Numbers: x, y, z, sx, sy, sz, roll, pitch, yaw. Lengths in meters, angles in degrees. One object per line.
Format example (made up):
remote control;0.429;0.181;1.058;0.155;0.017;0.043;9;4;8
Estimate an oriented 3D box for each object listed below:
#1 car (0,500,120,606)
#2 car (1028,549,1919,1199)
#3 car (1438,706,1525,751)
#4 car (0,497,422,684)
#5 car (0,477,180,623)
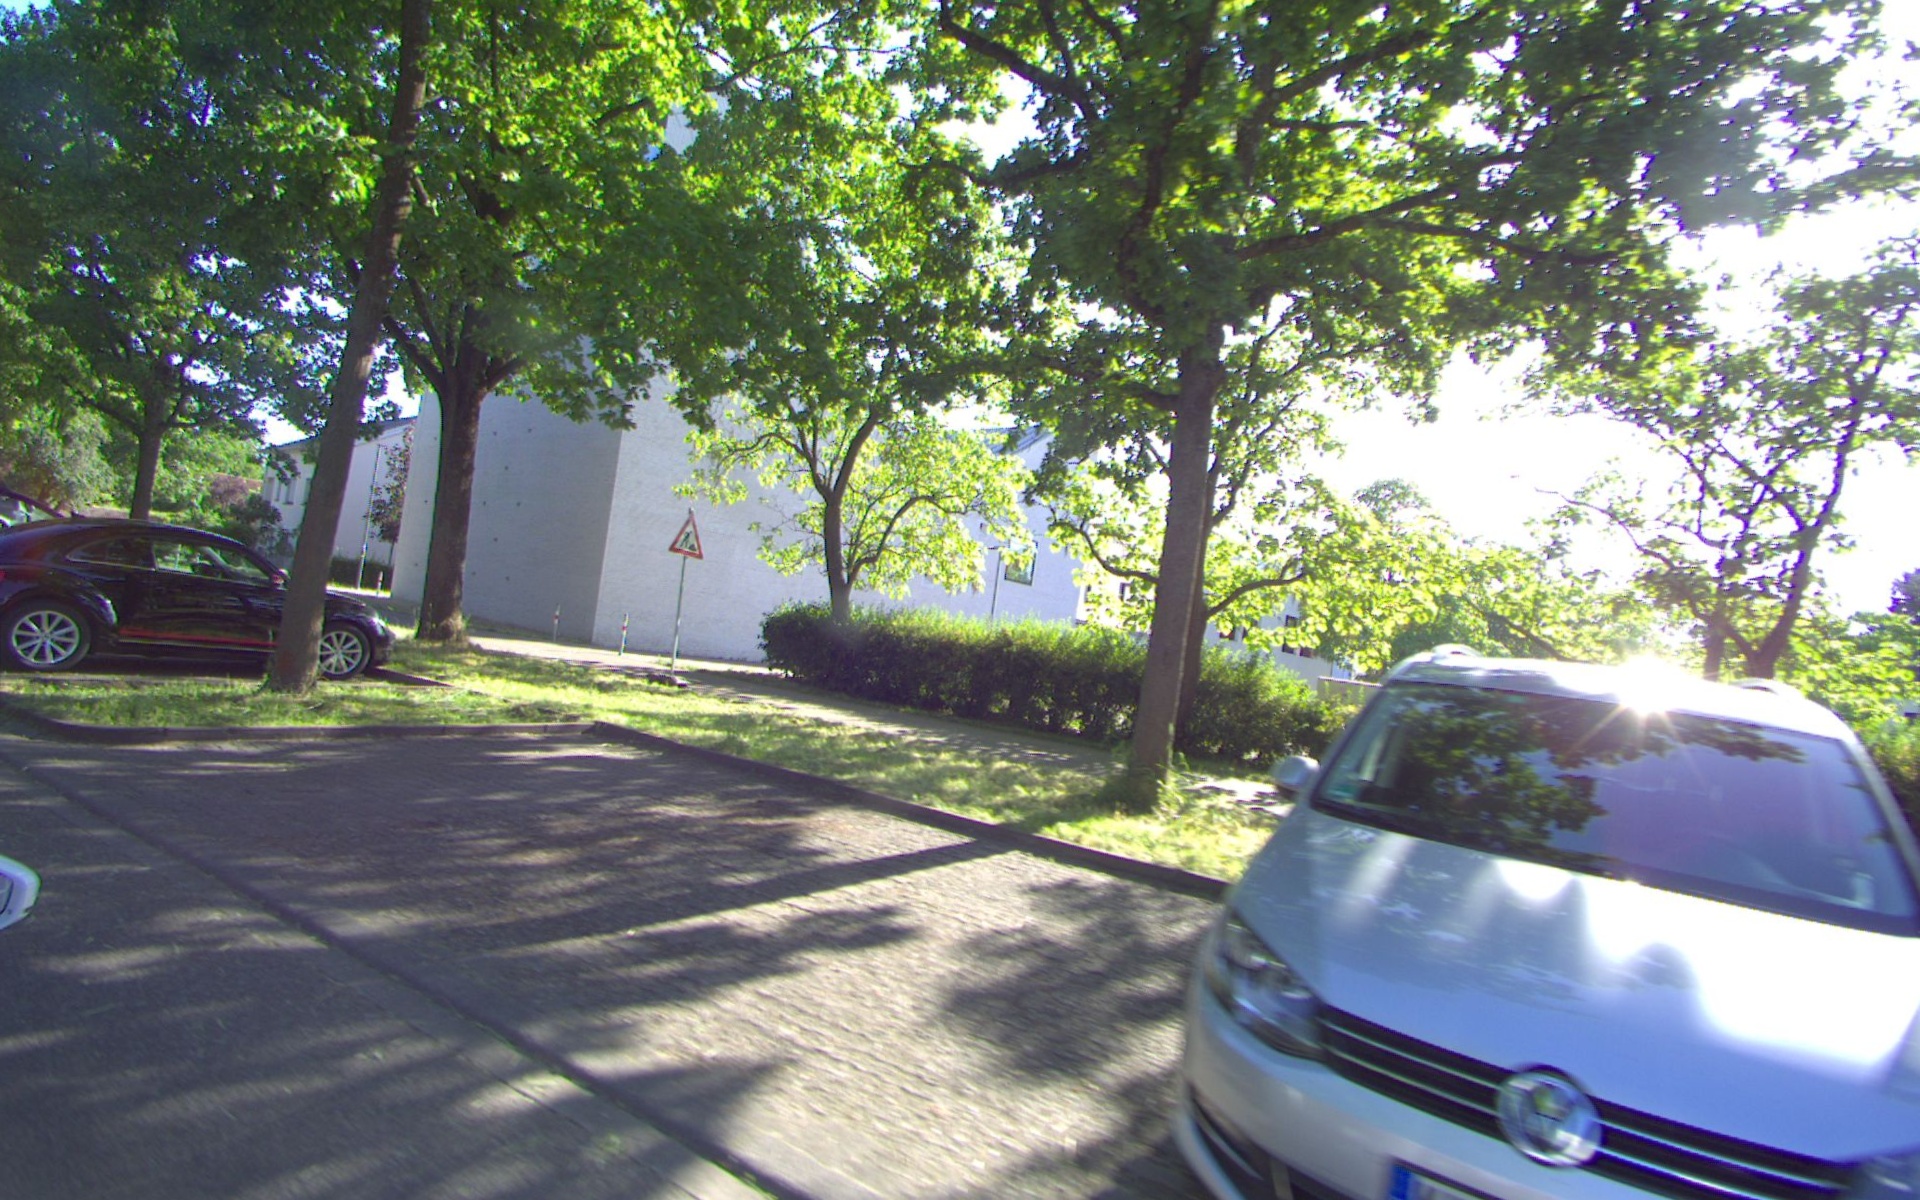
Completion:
car;-15.689;-0.916;15.179;1.771;1.489;4.226;7;-1;33
car;2.278;1.044;3.749;1.955;1.743;4.648;7;-1;33
car;40.482;9.961;78.232;2.322;2.638;5.435;10;-4;-27
car;-8.408;-0.079;10.610;2.044;1.536;4.251;7;-2;33
car;-13.939;-0.862;13.865;1.904;1.822;4.538;7;-2;32
